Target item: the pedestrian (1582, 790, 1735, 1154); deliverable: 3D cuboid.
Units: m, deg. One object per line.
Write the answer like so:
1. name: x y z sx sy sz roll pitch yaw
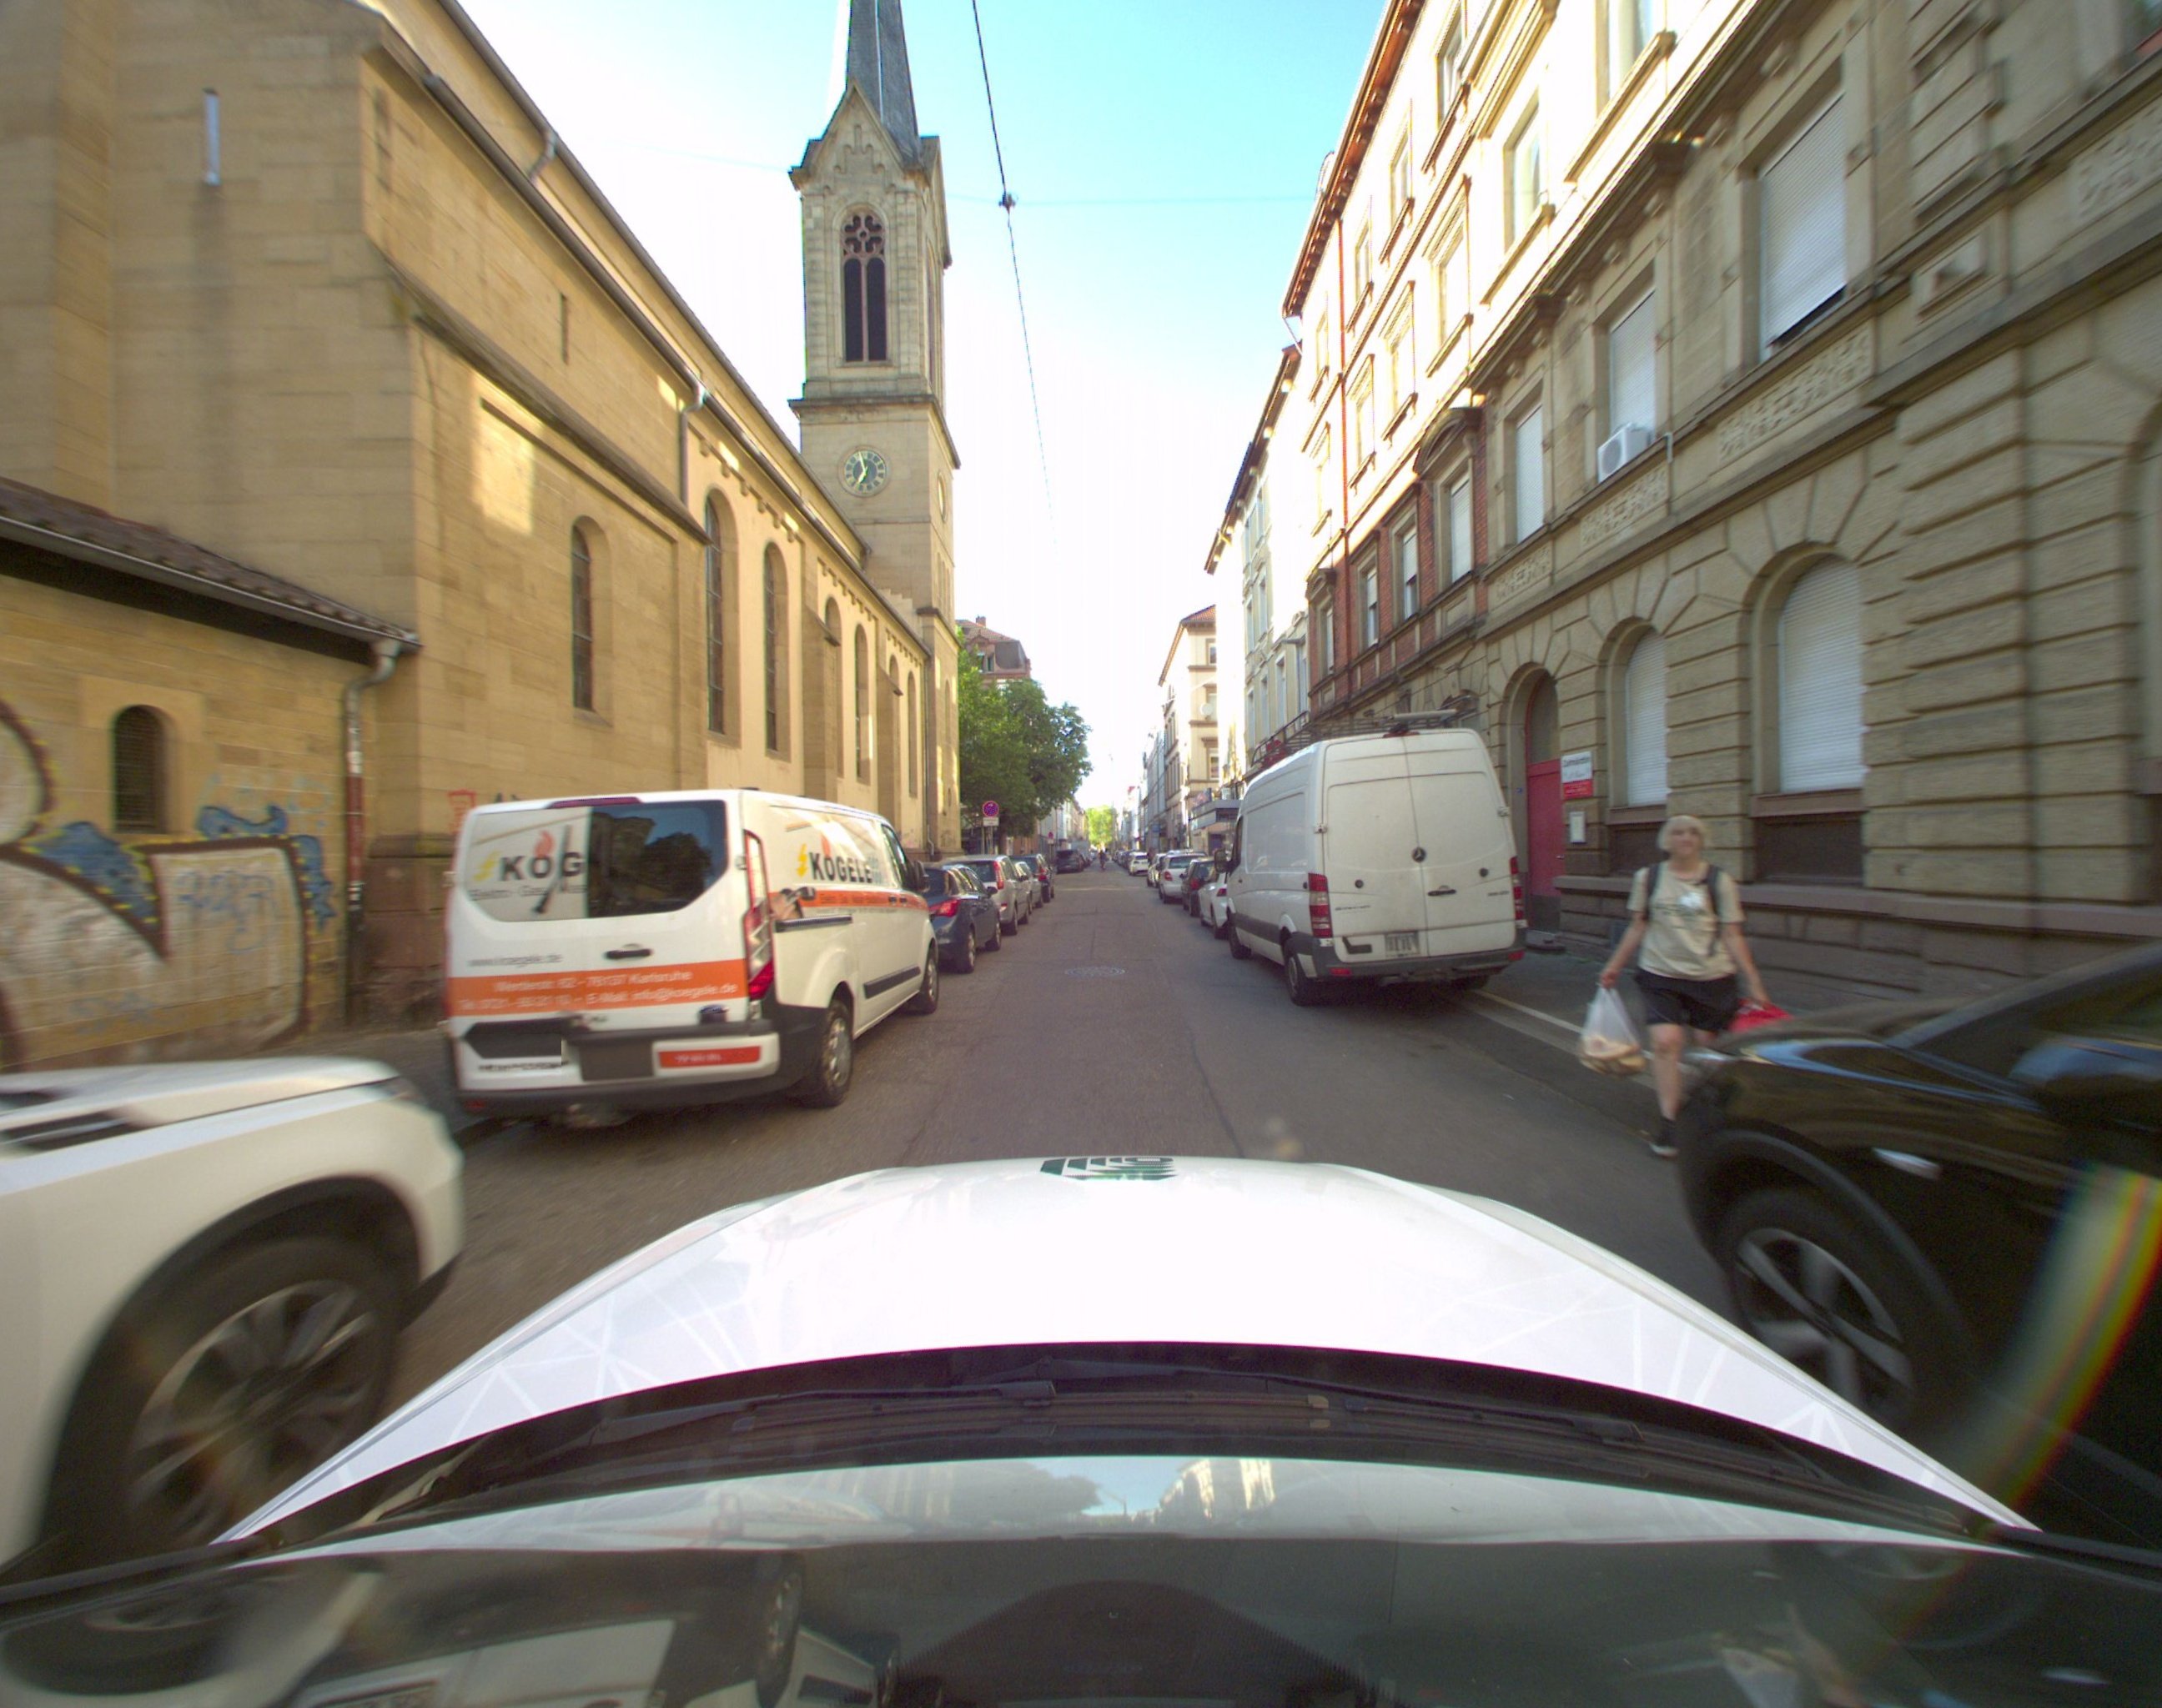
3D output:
1. pedestrian: 3.118 0.575 4.430 0.633 1.772 0.683 0 -1 35

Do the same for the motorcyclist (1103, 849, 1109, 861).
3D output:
1. motorcyclist: 4.103 0.149 134.936 0.899 2.013 1.190 -1 0 0

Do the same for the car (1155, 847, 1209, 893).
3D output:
1. car: 3.853 0.581 31.569 1.710 1.645 4.002 -1 0 2

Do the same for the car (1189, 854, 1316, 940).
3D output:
1. car: 3.279 0.755 16.391 1.773 1.486 4.362 0 0 2

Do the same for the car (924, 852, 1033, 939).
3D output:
1. car: -2.019 0.777 17.094 1.667 1.558 4.000 -2 0 1

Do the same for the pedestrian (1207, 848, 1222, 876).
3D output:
1. pedestrian: 7.998 0.474 48.767 0.546 1.642 0.600 -1 0 -39

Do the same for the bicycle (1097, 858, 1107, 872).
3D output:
1. bicycle: 1.674 0.834 63.991 0.736 1.043 1.860 -1 0 2

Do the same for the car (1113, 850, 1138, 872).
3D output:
1. car: 3.585 0.550 66.071 1.890 1.651 4.002 -1 0 2

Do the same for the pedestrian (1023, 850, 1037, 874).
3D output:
1. pedestrian: -3.739 0.583 60.010 0.925 1.786 0.807 -1 0 2

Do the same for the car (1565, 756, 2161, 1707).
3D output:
1. car: 2.610 0.648 1.080 1.681 1.642 3.926 -1 0 2

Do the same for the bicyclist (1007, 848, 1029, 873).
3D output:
1. bicyclist: -3.460 0.349 44.936 1.062 1.306 0.753 -1 0 -18

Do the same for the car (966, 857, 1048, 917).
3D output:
1. car: -1.984 0.863 22.750 1.563 1.398 3.813 -5 0 4

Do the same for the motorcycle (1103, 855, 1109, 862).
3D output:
1. motorcycle: 4.129 0.742 134.701 1.039 0.980 2.824 -1 0 0

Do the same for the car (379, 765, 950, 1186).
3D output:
1. car: -2.401 0.588 6.268 1.857 1.957 4.611 -3 0 1

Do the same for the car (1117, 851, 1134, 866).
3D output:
1. car: 5.456 0.511 99.457 1.986 1.686 4.002 1 0 2

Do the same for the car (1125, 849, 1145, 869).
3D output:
1. car: 4.962 0.465 75.118 1.762 1.741 4.002 -1 0 2

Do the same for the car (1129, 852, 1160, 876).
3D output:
1. car: 4.248 0.639 54.578 1.890 1.488 3.871 -1 0 2

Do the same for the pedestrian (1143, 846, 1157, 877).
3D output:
1. pedestrian: 4.212 0.455 49.543 0.681 1.843 0.692 0 0 -10

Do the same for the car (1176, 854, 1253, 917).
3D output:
1. car: 3.408 0.759 21.317 1.563 1.495 3.655 0 0 2

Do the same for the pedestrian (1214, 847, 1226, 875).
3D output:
1. pedestrian: 8.129 0.427 47.709 0.460 1.642 0.496 -1 0 -39

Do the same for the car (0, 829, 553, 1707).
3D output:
1. car: -2.720 0.762 0.829 1.736 1.586 3.870 -1 0 2

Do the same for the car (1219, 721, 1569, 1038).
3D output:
1. car: 3.091 0.200 9.699 2.060 2.611 5.890 -1 0 2

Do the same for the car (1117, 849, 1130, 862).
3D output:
1. car: 6.755 0.246 131.119 1.986 2.013 4.002 -1 0 2

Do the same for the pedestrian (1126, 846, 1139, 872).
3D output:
1. pedestrian: 3.700 0.388 58.428 0.781 1.843 1.010 0 0 -3

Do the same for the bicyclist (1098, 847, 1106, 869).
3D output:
1. bicyclist: 1.664 0.315 64.068 0.603 1.688 0.885 -1 0 1

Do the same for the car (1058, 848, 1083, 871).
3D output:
1. car: -0.824 0.453 66.565 1.868 1.796 4.002 -1 0 2

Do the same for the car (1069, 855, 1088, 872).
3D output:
1. car: -0.274 0.978 88.348 1.868 1.796 4.002 -1 0 2

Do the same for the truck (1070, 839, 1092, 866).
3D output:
1. truck: -0.003 -0.162 105.018 2.522 3.282 6.998 -1 0 2

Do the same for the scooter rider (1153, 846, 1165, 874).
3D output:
1. scooter rider: 4.652 0.330 48.380 0.646 1.642 0.685 -1 0 7

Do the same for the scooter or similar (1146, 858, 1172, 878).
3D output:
1. scooter or similar: 4.628 0.805 48.358 1.521 1.139 0.602 -1 0 6

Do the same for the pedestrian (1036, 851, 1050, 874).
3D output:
1. pedestrian: -2.786 0.641 60.326 0.925 1.637 0.807 -1 0 2

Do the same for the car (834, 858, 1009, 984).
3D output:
1. car: -2.143 0.834 12.005 1.609 1.451 3.952 -3 0 2

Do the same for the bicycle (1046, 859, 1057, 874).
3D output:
1. bicycle: -2.345 0.963 63.820 0.644 1.108 1.599 -1 0 -9

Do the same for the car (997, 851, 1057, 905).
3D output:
1. car: -1.741 0.755 27.467 1.594 1.614 3.809 -3 0 1

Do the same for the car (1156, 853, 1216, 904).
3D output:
1. car: 3.300 0.718 26.126 1.597 1.505 4.003 0 0 3

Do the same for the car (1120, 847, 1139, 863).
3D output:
1. car: 5.270 0.140 88.665 1.986 1.632 4.002 1 0 2

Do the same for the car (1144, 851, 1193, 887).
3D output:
1. car: 3.868 0.613 36.416 1.711 1.488 3.867 -1 0 -1
